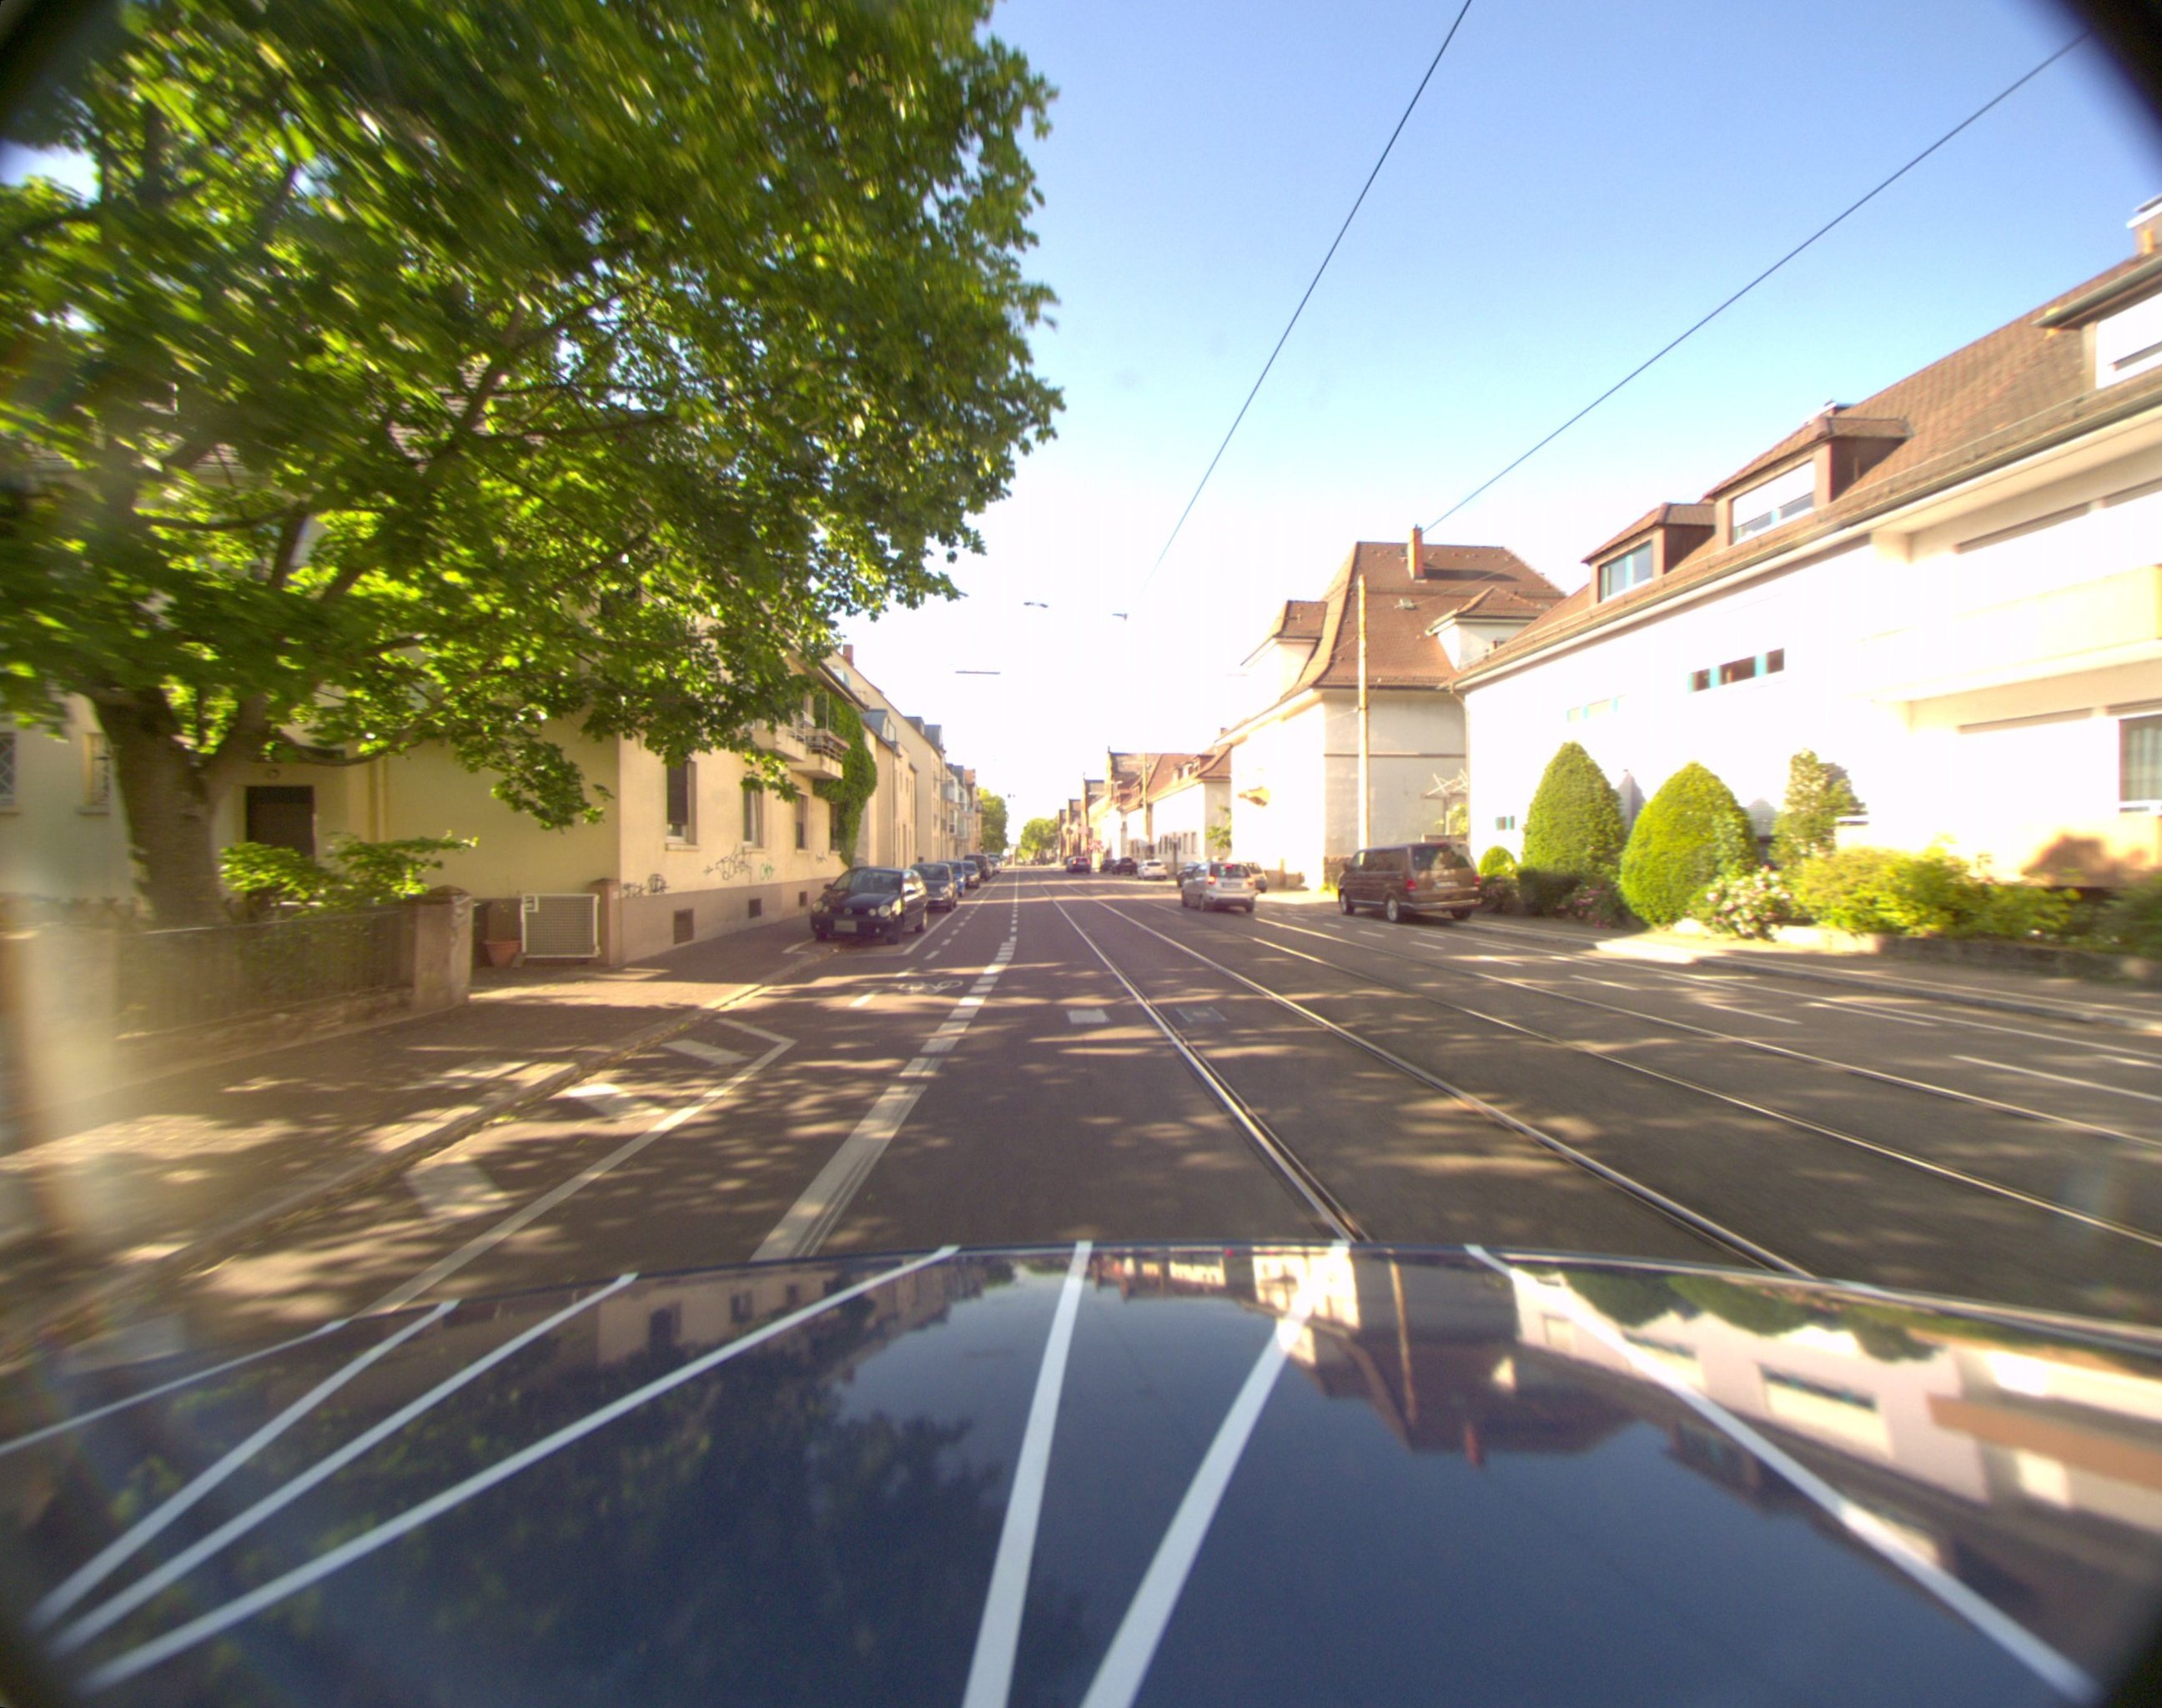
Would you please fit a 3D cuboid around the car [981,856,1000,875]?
[{"bbox_3d":[-8.197,1.017,68.935,1.558,1.548,3.650,-2,0,-5],"label":"car"}]

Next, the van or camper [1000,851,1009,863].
[{"bbox_3d":[-16.723,0.711,166.144,1.999,2.346,5.597,0,-1,-5],"label":"van or camper"}]

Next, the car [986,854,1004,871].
[{"bbox_3d":[-9.417,0.909,83.532,1.744,1.736,4.253,-2,0,-4],"label":"car"}]

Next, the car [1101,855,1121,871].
[{"bbox_3d":[3.222,0.906,81.768,1.620,1.618,3.919,1,0,-5],"label":"car"}]

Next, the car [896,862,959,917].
[{"bbox_3d":[-4.820,1.073,24.266,1.606,1.516,3.547,-2,0,-6],"label":"car"}]

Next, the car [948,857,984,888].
[{"bbox_3d":[-6.369,1.007,42.560,1.749,1.589,4.431,-2,0,-6],"label":"car"}]

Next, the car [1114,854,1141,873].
[{"bbox_3d":[4.210,0.835,69.884,1.767,1.695,4.553,1,0,-5],"label":"car"}]

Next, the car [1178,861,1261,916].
[{"bbox_3d":[4.020,0.955,22.505,1.580,1.468,3.439,1,0,-4],"label":"car"}]

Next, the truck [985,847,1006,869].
[{"bbox_3d":[-10.038,0.483,89.702,2.302,2.463,6.143,0,0,-4],"label":"truck"}]

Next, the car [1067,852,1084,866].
[{"bbox_3d":[-0.595,0.547,80.833,1.622,1.452,4.073,1,0,-3],"label":"car"}]

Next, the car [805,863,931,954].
[{"bbox_3d":[-4.236,1.014,15.666,1.670,1.555,3.769,0,1,-2],"label":"car"}]

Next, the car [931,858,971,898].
[{"bbox_3d":[-5.652,1.019,33.353,1.462,1.589,3.292,-2,0,-6],"label":"car"}]

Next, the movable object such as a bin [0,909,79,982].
[{"bbox_3d":[-13.960,1.223,10.189,0.449,0.926,0.437,0,0,-1],"label":"movable object such as a bin"}]

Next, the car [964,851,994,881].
[{"bbox_3d":[-7.261,0.820,54.406,1.911,1.975,4.560,-2,0,-5],"label":"car"}]

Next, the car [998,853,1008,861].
[{"bbox_3d":[-16.034,0.706,155.964,1.984,1.539,4.033,-1,-1,-4],"label":"car"}]

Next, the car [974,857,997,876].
[{"bbox_3d":[-8.020,1.007,64.083,1.682,1.482,4.170,-2,0,-5],"label":"car"}]

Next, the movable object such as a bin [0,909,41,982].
[{"bbox_3d":[-14.487,1.219,10.167,0.517,0.926,0.437,0,0,-1],"label":"movable object such as a bin"}]

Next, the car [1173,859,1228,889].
[{"bbox_3d":[6.304,1.026,40.485,1.668,1.468,4.247,0,0,-8],"label":"car"}]

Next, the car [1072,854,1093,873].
[{"bbox_3d":[0.126,0.883,73.464,1.709,1.695,4.362,1,0,-4],"label":"car"}]

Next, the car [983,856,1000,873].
[{"bbox_3d":[-8.598,0.962,73.367,1.501,1.548,3.363,-2,0,-5],"label":"car"}]

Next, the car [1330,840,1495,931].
[{"bbox_3d":[8.349,0.704,19.740,1.911,2.002,4.947,-2,0,-2],"label":"car"}]

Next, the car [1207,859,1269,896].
[{"bbox_3d":[6.986,0.994,34.102,1.681,1.468,3.833,-2,0,-4],"label":"car"}]

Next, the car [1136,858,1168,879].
[{"bbox_3d":[5.130,1.021,55.143,1.636,1.449,4.013,1,0,-4],"label":"car"}]
